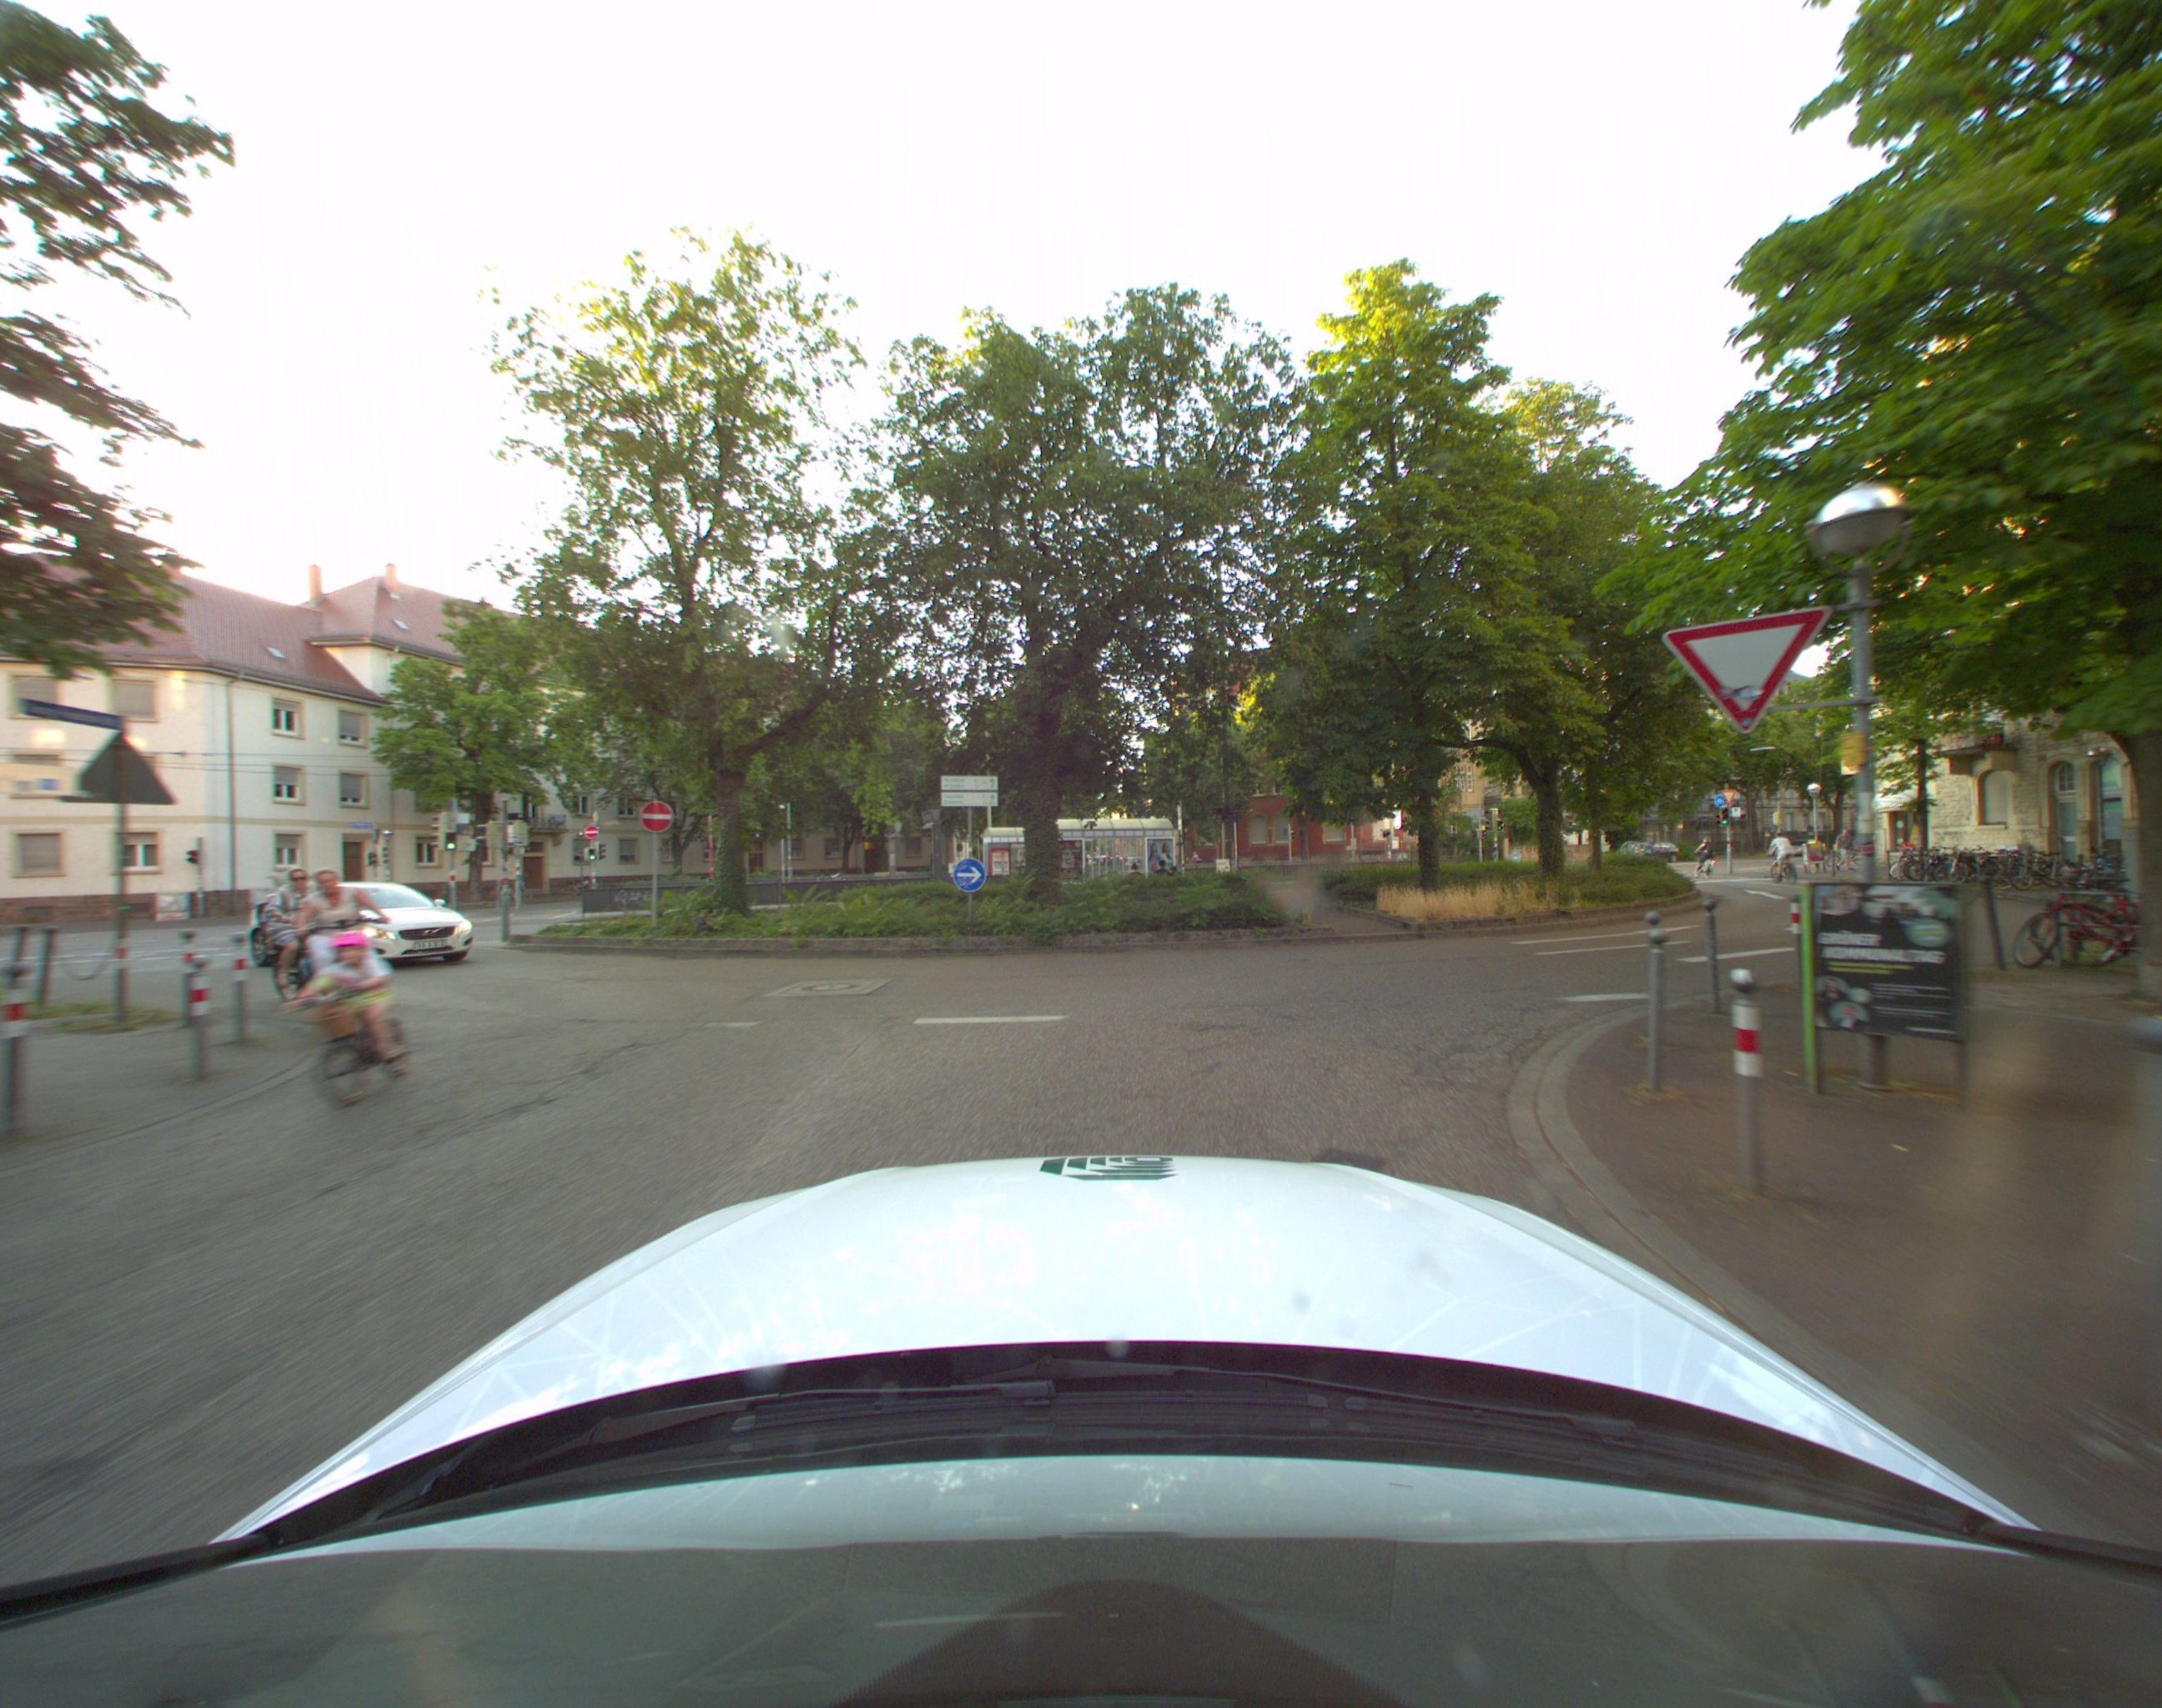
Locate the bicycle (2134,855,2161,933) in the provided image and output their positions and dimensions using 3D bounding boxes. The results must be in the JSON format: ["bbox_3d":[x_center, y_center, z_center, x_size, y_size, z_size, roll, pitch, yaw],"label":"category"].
[{"bbox_3d":[15.672,0.548,11.099,0.421,1.076,1.589,-1,-1,-37],"label":"bicycle"}]

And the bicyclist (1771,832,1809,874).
[{"bbox_3d":[24.359,-0.027,27.999,0.691,1.411,0.869,-2,0,21],"label":"bicyclist"}]

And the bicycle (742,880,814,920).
[{"bbox_3d":[-9.738,1.449,26.162,2.117,1.151,0.681,-2,0,-24],"label":"bicycle"}]

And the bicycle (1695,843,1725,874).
[{"bbox_3d":[26.291,0.186,34.081,0.691,1.236,1.874,-2,0,29],"label":"bicycle"}]

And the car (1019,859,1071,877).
[{"bbox_3d":[-3.506,1.333,78.602,4.941,1.704,1.997,0,-1,-5],"label":"car"}]

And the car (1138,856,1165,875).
[{"bbox_3d":[6.467,1.043,74.726,1.988,1.704,4.717,0,0,-1],"label":"car"}]

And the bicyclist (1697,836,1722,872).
[{"bbox_3d":[26.283,0.006,34.076,0.691,1.461,0.789,-2,0,29],"label":"bicyclist"}]

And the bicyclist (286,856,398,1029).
[{"bbox_3d":[-7.371,0.832,8.123,0.864,1.583,0.731,-2,-1,43],"label":"bicyclist"}]

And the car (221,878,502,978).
[{"bbox_3d":[-13.111,1.264,14.828,4.781,1.517,2.011,-2,0,24],"label":"car"}]

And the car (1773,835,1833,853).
[{"bbox_3d":[62.357,-0.854,70.345,4.636,1.426,1.995,-2,0,-23],"label":"car"}]

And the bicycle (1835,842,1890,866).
[{"bbox_3d":[39.047,-0.008,40.699,1.854,1.130,0.736,-2,-1,33],"label":"bicycle"}]

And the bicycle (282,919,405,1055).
[{"bbox_3d":[-7.480,1.260,8.226,2.022,1.094,0.734,-2,0,43],"label":"bicycle"}]

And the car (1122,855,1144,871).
[{"bbox_3d":[5.777,1.034,91.047,1.988,1.704,4.717,0,0,-1],"label":"car"}]

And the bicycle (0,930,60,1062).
[{"bbox_3d":[-9.346,1.223,6.447,0.559,1.083,1.790,0,0,-13],"label":"bicycle"}]

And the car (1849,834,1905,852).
[{"bbox_3d":[72.160,-1.023,73.849,4.166,1.482,1.938,-2,0,-18],"label":"car"}]

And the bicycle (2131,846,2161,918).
[{"bbox_3d":[18.023,0.436,12.816,0.450,1.168,1.775,-1,-1,-41],"label":"bicycle"}]

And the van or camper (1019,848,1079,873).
[{"bbox_3d":[-4.066,0.782,101.339,7.352,3.083,2.669,0,-1,-5],"label":"van or camper"}]

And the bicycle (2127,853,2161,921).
[{"bbox_3d":[17.672,0.503,12.600,0.450,1.063,1.775,-1,-1,-41],"label":"bicycle"}]

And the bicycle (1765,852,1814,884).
[{"bbox_3d":[24.437,0.476,28.130,0.691,1.055,1.802,-2,0,21],"label":"bicycle"}]

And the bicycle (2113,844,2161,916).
[{"bbox_3d":[18.524,0.418,13.363,0.556,1.200,1.897,-1,-1,-43],"label":"bicycle"}]

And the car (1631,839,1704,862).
[{"bbox_3d":[41.035,-0.245,56.980,4.418,1.510,1.938,-2,0,-18],"label":"car"}]

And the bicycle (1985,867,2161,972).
[{"bbox_3d":[10.832,0.660,8.635,0.432,1.039,1.596,-2,-1,-21],"label":"bicycle"}]

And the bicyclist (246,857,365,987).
[{"bbox_3d":[-9.636,0.826,10.132,0.866,1.545,0.681,-2,0,14],"label":"bicyclist"}]

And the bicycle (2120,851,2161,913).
[{"bbox_3d":[19.159,0.463,13.759,0.556,1.065,1.897,-1,-1,-43],"label":"bicycle"}]

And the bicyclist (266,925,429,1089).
[{"bbox_3d":[-5.134,1.033,5.751,0.649,0.977,0.724,-2,0,-25],"label":"bicyclist"}]

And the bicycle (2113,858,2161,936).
[{"bbox_3d":[15.260,0.584,11.014,0.421,1.063,1.589,-1,-1,-37],"label":"bicycle"}]

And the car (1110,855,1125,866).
[{"bbox_3d":[5.703,1.008,126.631,1.988,1.704,4.717,0,0,-1],"label":"car"}]

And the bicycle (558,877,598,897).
[{"bbox_3d":[-30.525,2.006,49.471,0.677,1.151,1.932,-2,0,34],"label":"bicycle"}]

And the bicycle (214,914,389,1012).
[{"bbox_3d":[-9.709,1.341,10.155,1.790,1.094,0.688,-2,0,13],"label":"bicycle"}]

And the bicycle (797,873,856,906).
[{"bbox_3d":[-8.721,1.203,27.924,1.857,1.051,0.542,-2,0,-22],"label":"bicycle"}]

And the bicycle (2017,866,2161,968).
[{"bbox_3d":[11.274,0.649,8.521,0.432,1.039,1.886,-2,0,-21],"label":"bicycle"}]
